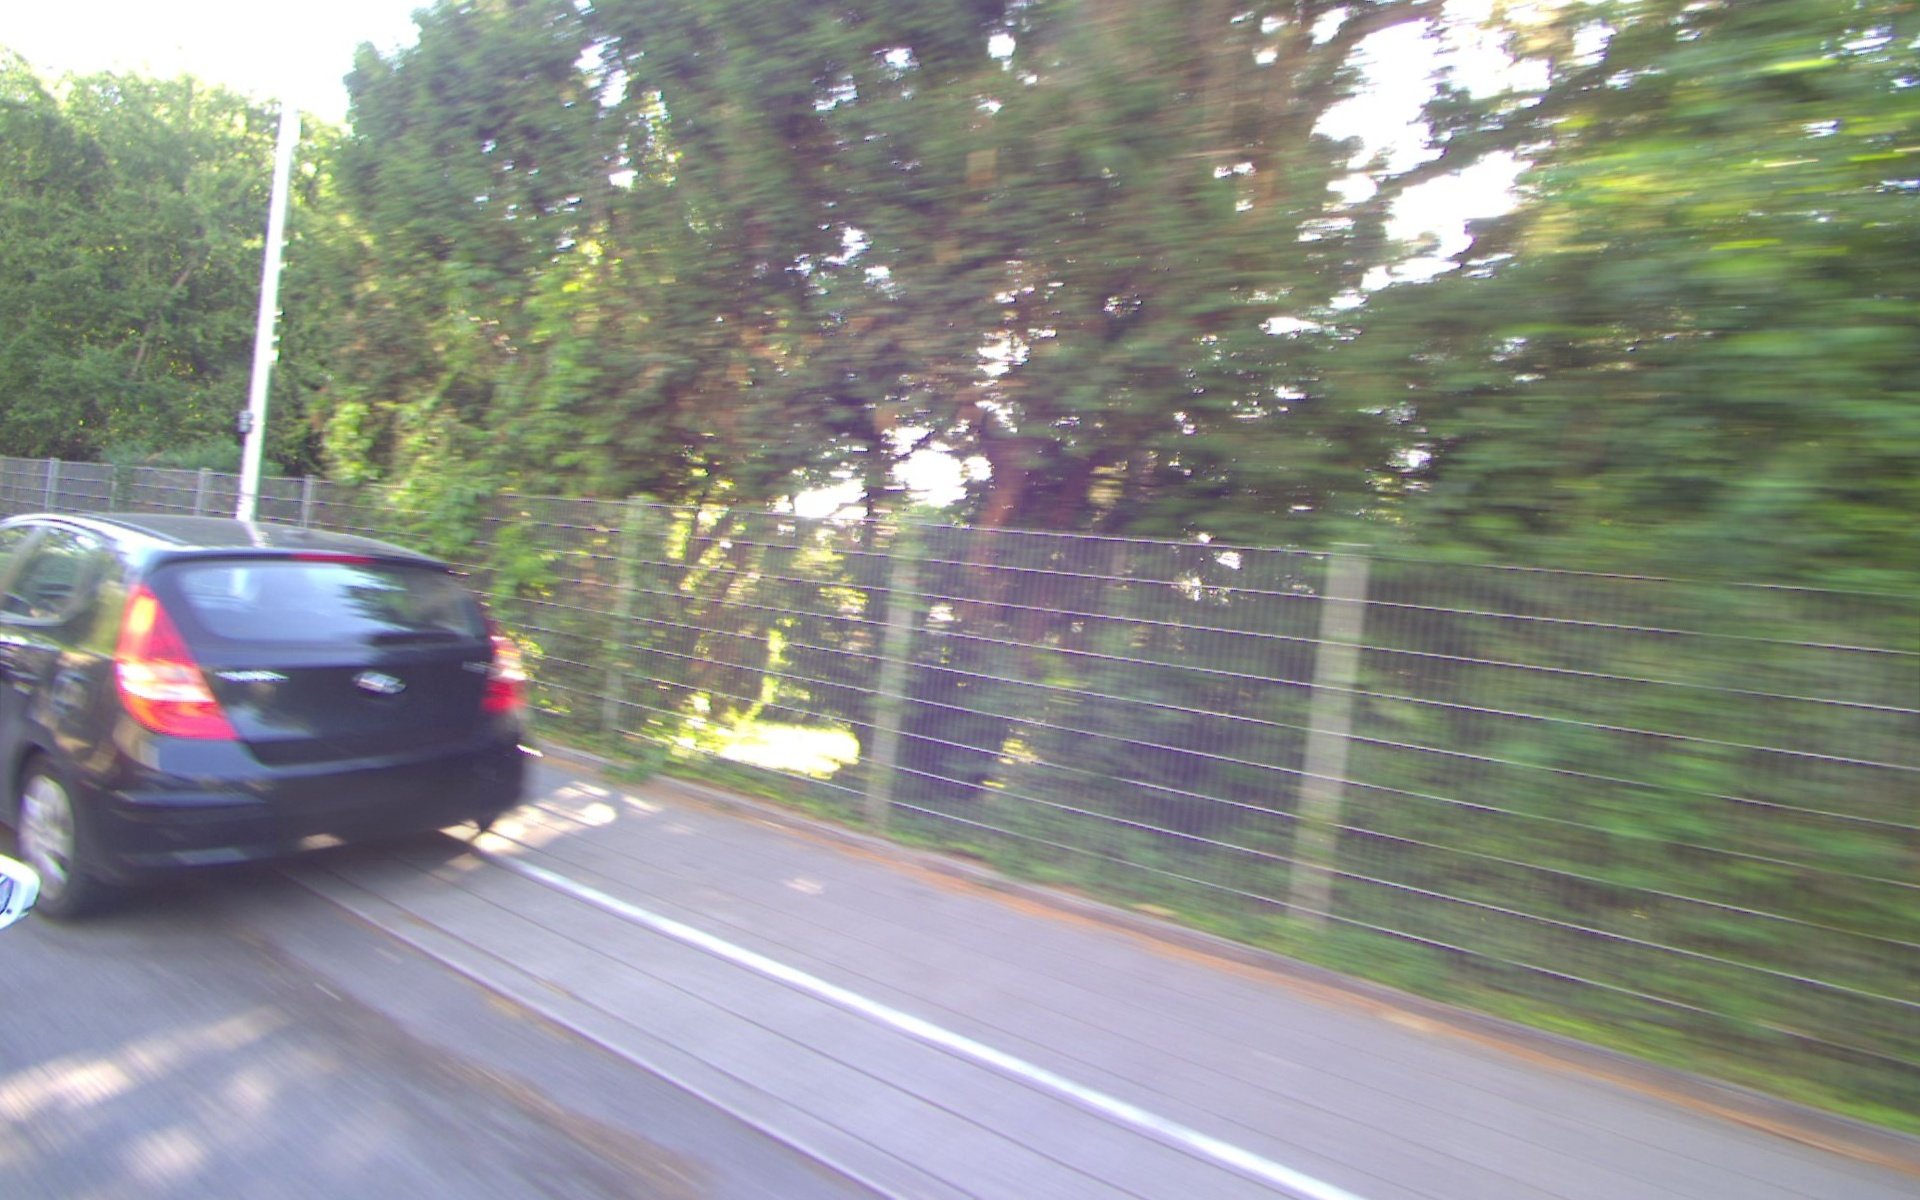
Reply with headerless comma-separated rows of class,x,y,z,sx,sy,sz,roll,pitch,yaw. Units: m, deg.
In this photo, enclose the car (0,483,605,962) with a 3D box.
car,-3.844,0.287,4.963,3.934,1.458,1.796,7,-1,33
